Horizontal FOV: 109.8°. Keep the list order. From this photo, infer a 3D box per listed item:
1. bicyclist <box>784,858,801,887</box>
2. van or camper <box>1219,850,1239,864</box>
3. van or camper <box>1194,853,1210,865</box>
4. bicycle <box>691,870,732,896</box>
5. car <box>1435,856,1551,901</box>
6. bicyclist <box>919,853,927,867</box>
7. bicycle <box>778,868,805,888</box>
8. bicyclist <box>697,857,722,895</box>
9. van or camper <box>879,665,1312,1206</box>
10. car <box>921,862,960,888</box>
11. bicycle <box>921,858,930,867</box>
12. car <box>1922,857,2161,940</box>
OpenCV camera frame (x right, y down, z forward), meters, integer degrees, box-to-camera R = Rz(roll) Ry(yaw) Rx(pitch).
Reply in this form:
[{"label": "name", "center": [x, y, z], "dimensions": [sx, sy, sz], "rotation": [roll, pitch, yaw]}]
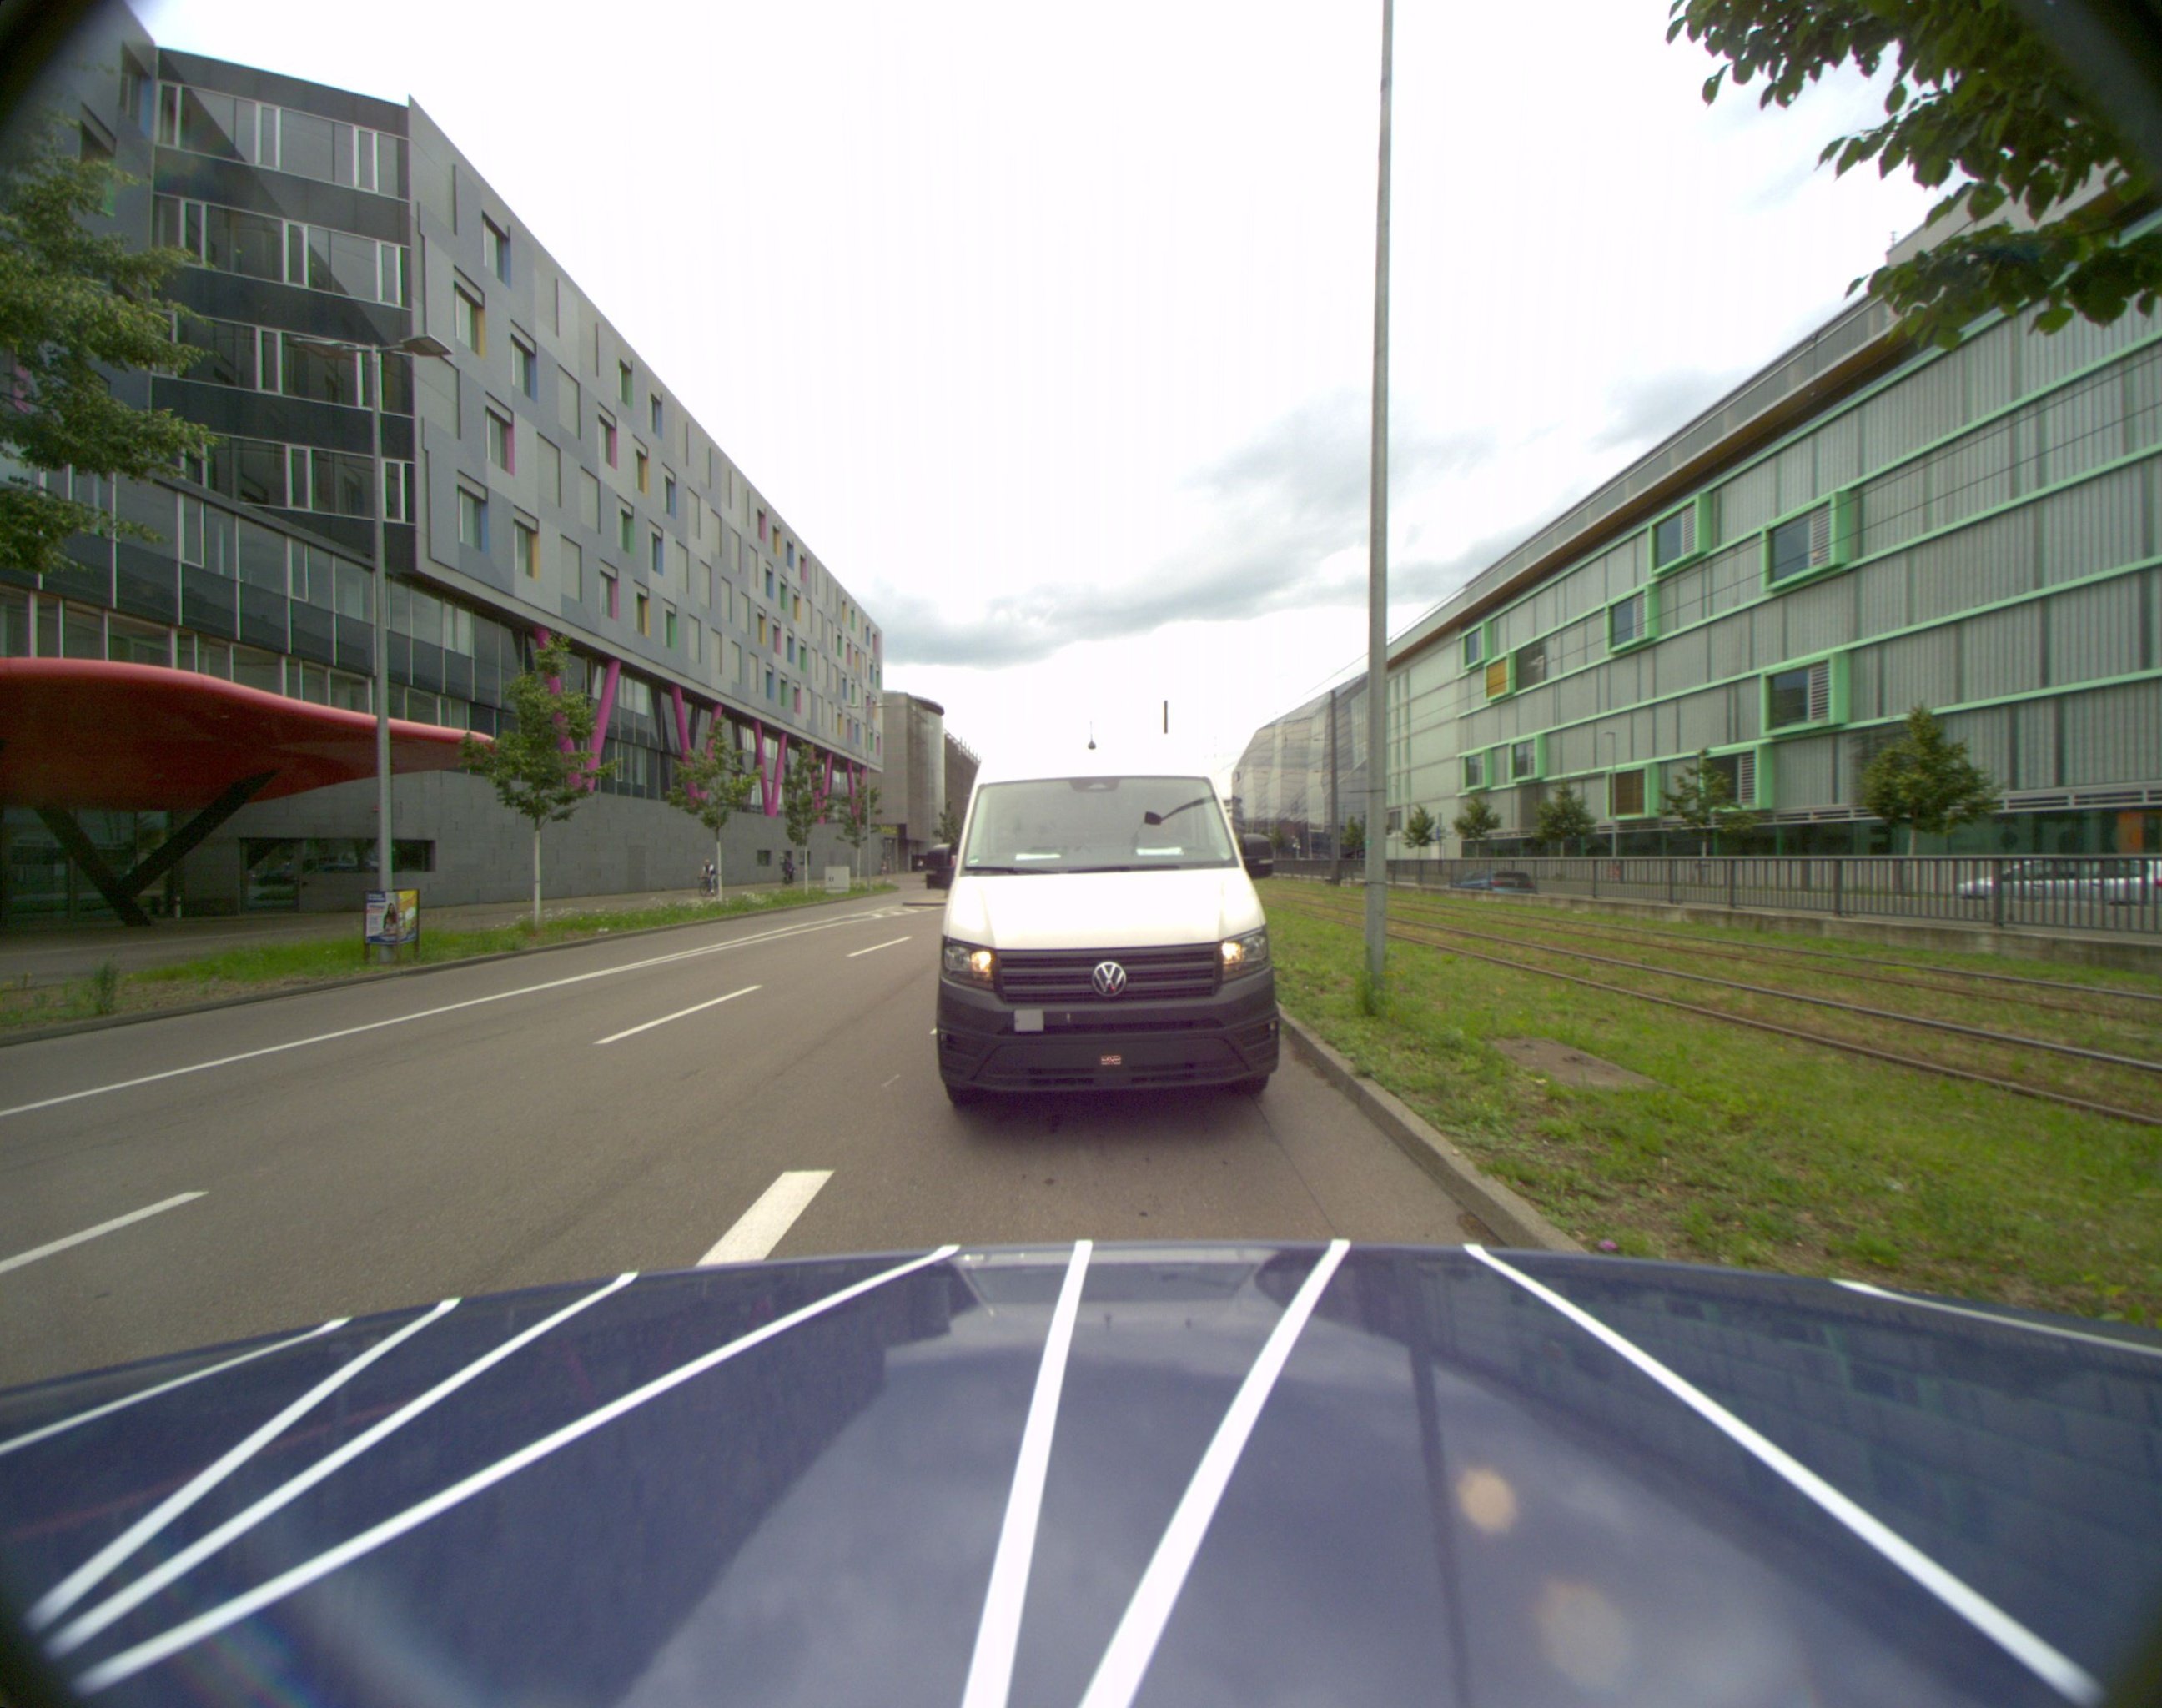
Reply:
[{"label": "bicyclist", "center": [-18.263, 1.164, 48.067], "dimensions": [0.784, 1.790, 0.705], "rotation": [-2, -4, 0]}, {"label": "van or camper", "center": [24.249, 0.440, 124.776], "dimensions": [2.178, 2.273, 5.359], "rotation": [-1, 0, 1]}, {"label": "van or camper", "center": [24.037, 1.063, 150.617], "dimensions": [2.178, 2.273, 6.507], "rotation": [-2, 0, 1]}, {"label": "bicycle", "center": [-17.860, 1.387, 36.791], "dimensions": [0.801, 1.151, 2.345], "rotation": [-2, -1, 0]}, {"label": "car", "center": [16.058, 0.907, 29.936], "dimensions": [1.969, 1.579, 4.688], "rotation": [-1, 0, -1]}, {"label": "bicyclist", "center": [-19.423, 0.735, 93.403], "dimensions": [0.772, 1.776, 0.974], "rotation": [-1, 0, -5]}, {"label": "bicycle", "center": [-18.249, 1.507, 47.990], "dimensions": [0.801, 1.150, 2.346], "rotation": [-2, -4, 0]}, {"label": "bicyclist", "center": [-17.871, 1.042, 36.577], "dimensions": [0.784, 1.792, 0.705], "rotation": [-2, 0, 0]}, {"label": "van or camper", "center": [0.075, 0.398, 6.183], "dimensions": [2.043, 2.572, 5.041], "rotation": [-1, 0, 0]}, {"label": "car", "center": [-8.646, 1.265, 47.017], "dimensions": [1.567, 1.453, 4.342], "rotation": [-1, 0, 1]}, {"label": "bicycle", "center": [-19.081, 1.045, 93.090], "dimensions": [0.785, 1.187, 2.220], "rotation": [-1, 0, -3]}, {"label": "car", "center": [23.630, 0.954, 18.210], "dimensions": [1.801, 1.562, 4.577], "rotation": [-3, 1, -1]}]
